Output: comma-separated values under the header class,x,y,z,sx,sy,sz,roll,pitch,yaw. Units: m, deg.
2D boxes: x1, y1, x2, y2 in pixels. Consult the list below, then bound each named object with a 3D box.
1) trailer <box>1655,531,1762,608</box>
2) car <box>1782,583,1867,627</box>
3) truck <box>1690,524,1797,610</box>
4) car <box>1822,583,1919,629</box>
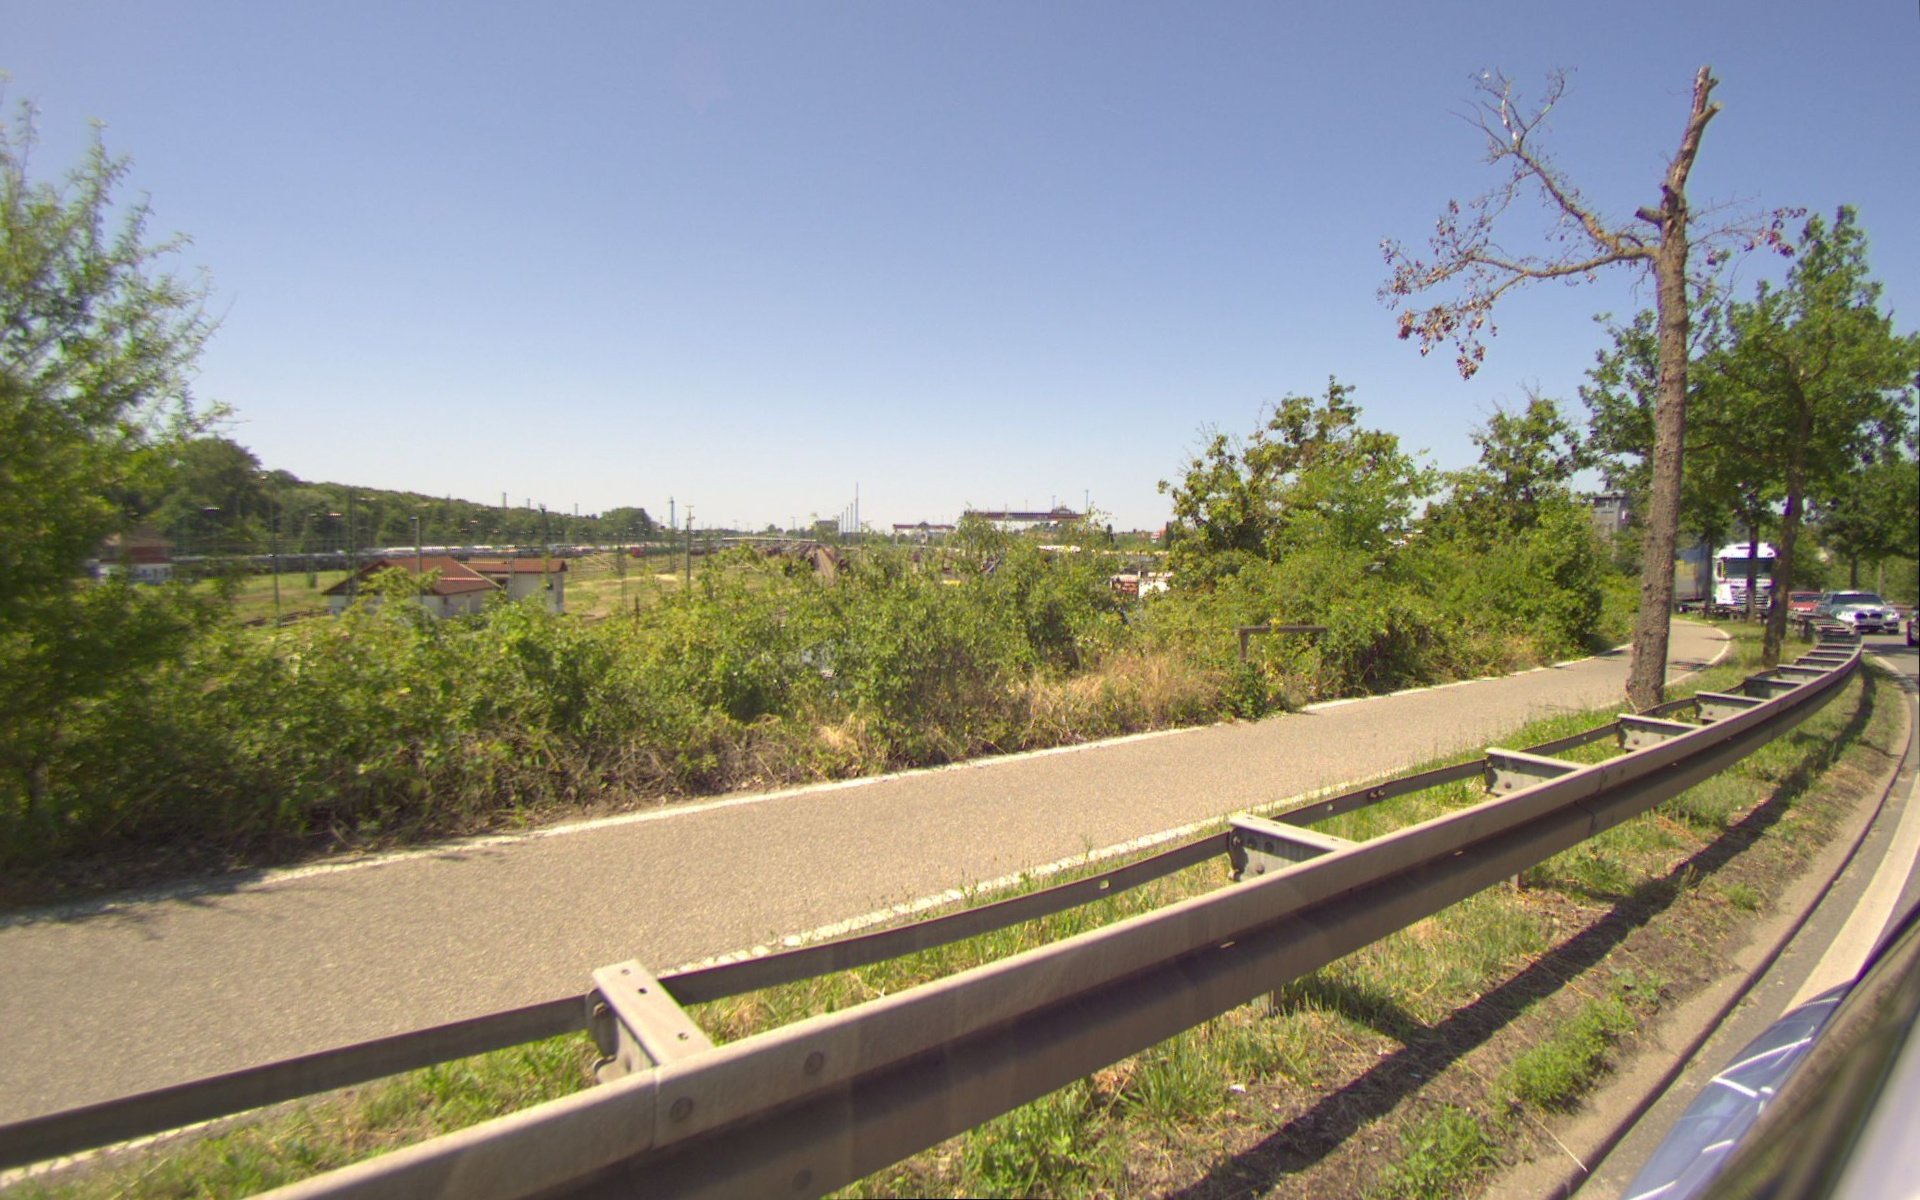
class,x,y,z,sx,sy,sz,roll,pitch,yaw
trailer,46.550,-1.808,63.445,2.854,4.267,13.883,0,1,26
car,37.147,0.184,43.609,1.884,1.675,4.218,0,2,28
truck,42.592,-1.700,55.313,2.830,4.322,8.737,0,1,26
car,30.411,0.176,33.860,1.803,1.446,3.674,0,1,31
